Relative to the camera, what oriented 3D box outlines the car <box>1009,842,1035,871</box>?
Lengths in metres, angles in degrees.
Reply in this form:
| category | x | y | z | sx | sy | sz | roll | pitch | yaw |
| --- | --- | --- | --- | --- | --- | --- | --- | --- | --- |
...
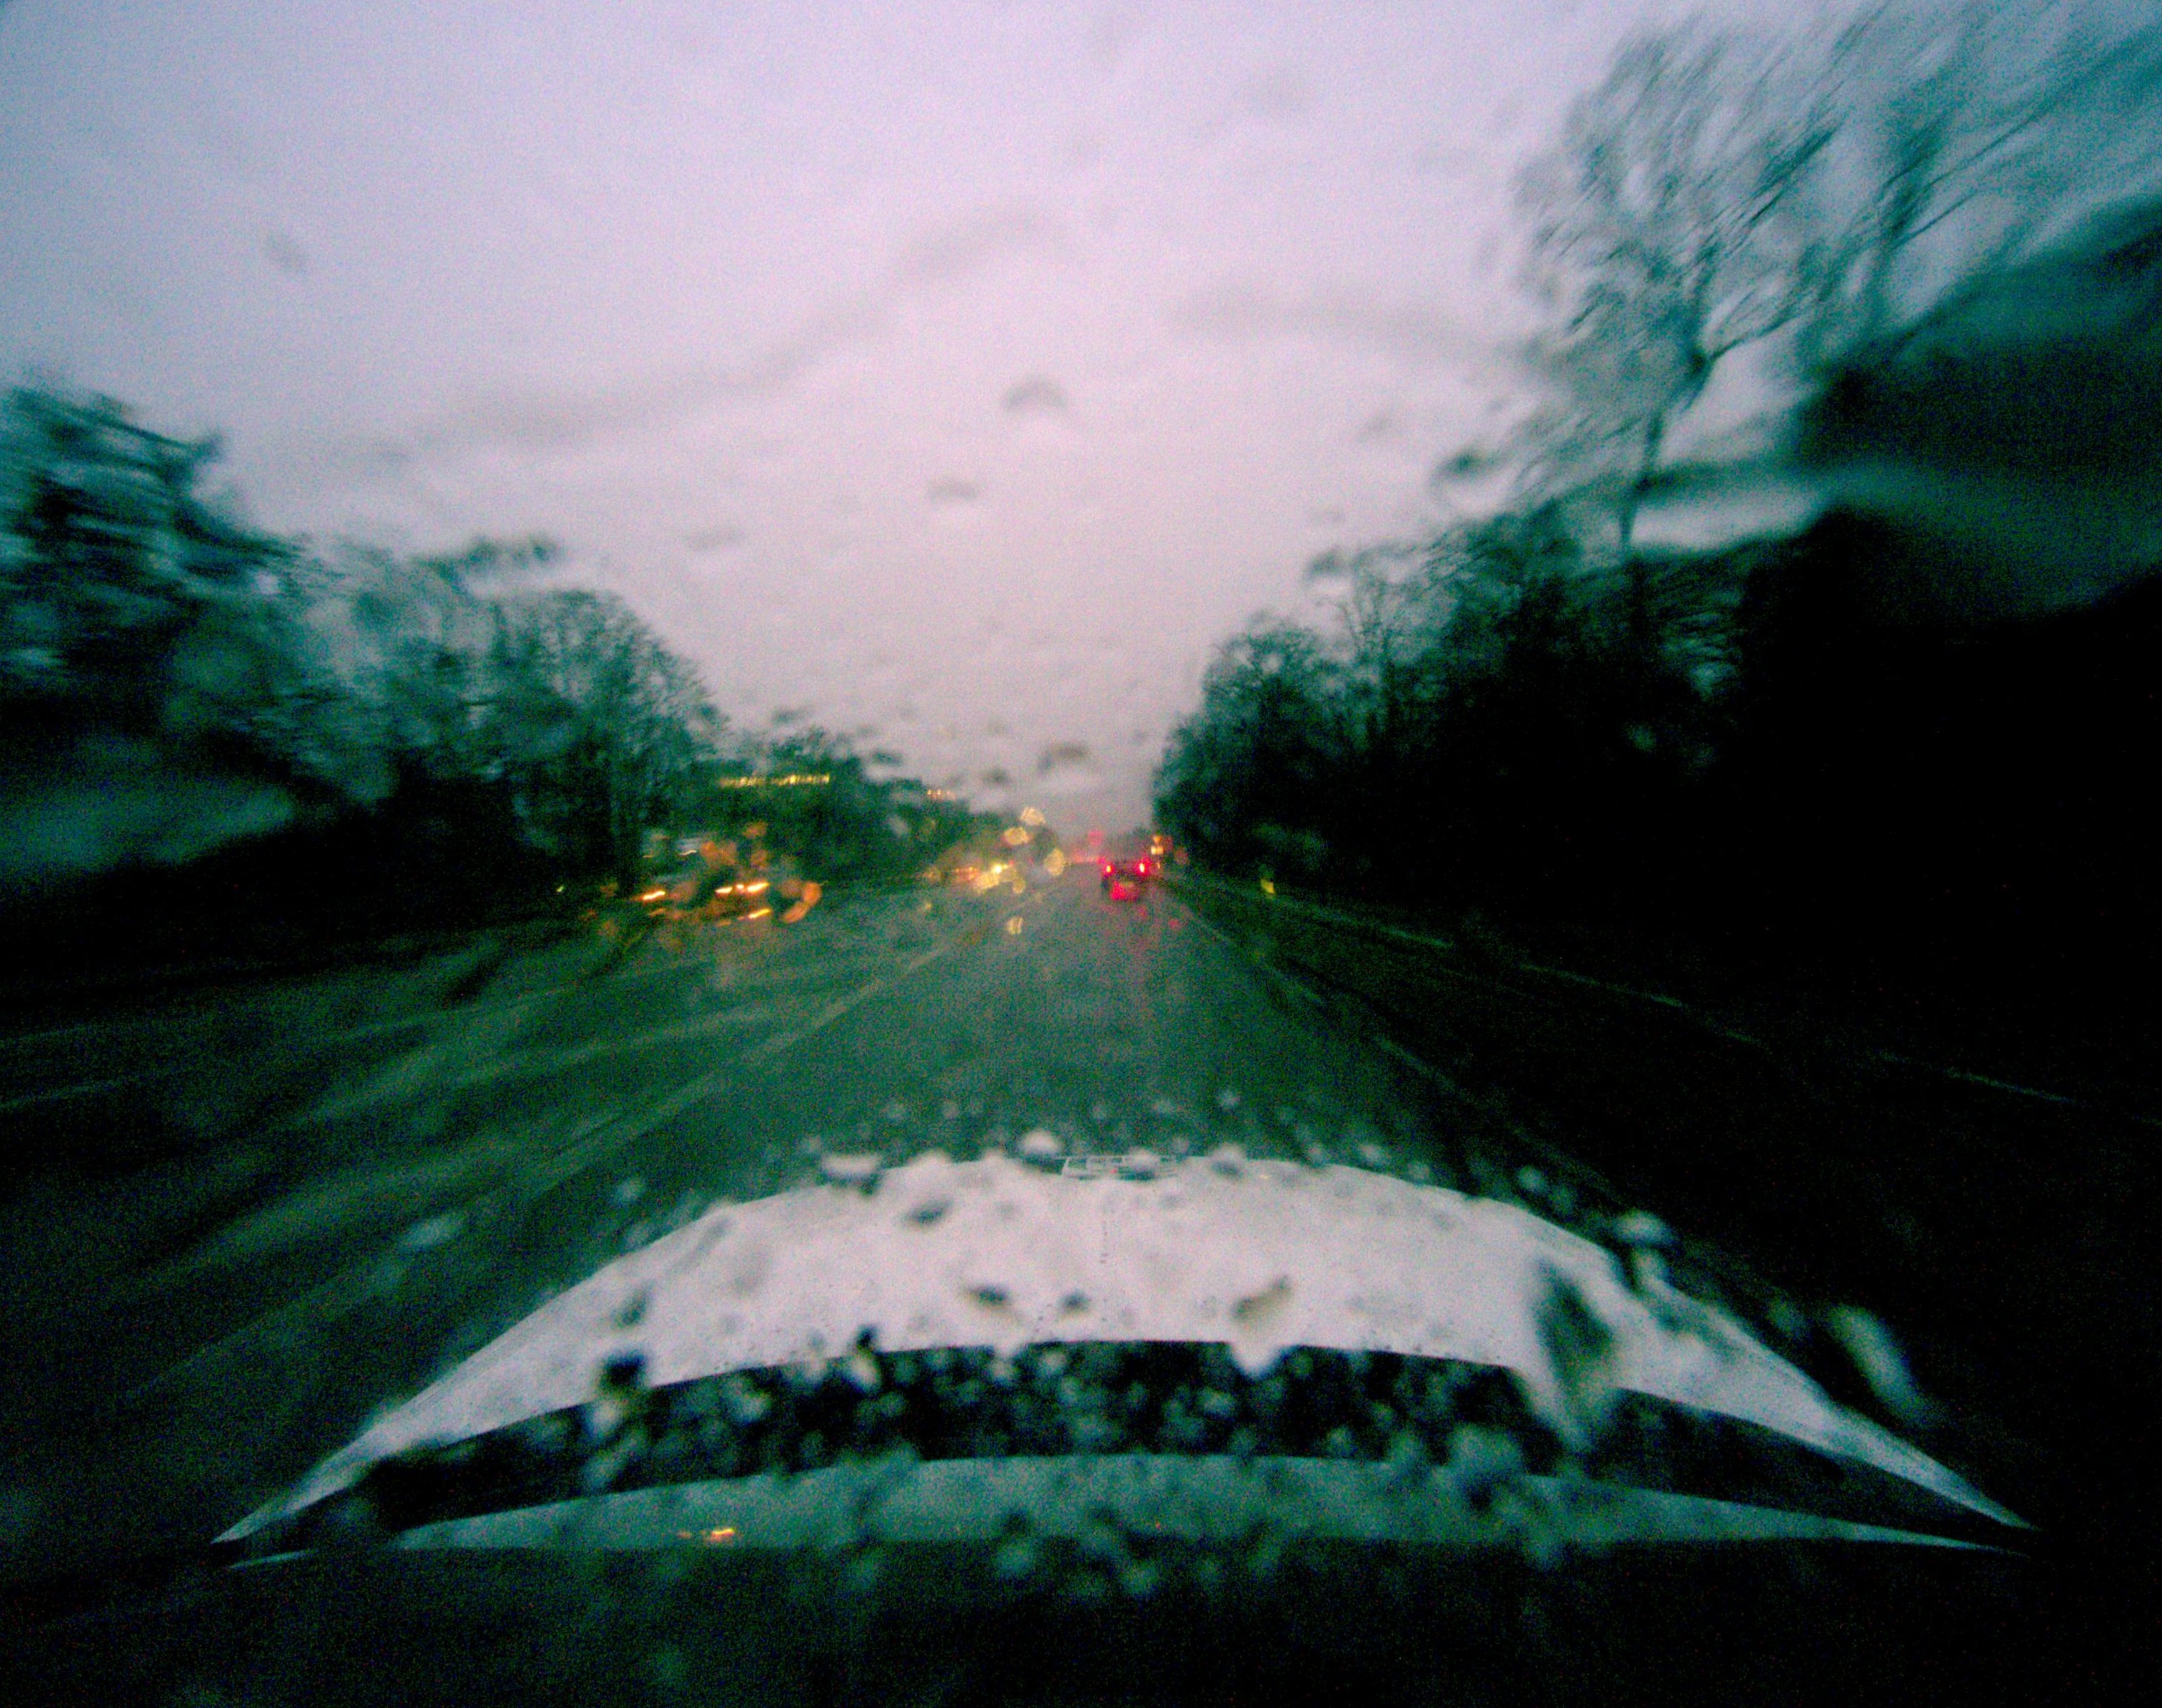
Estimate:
| category | x | y | z | sx | sy | sz | roll | pitch | yaw |
| --- | --- | --- | --- | --- | --- | --- | --- | --- | --- |
| car | -5.209 | 0.242 | 72.505 | 1.994 | 2.453 | 4.000 | -1 | 0 | 0 |

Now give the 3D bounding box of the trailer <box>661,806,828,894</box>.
| category | x | y | z | sx | sy | sz | roll | pitch | yaw |
| --- | --- | --- | --- | --- | --- | --- | --- | --- | --- |
| trailer | -20.846 | -0.195 | 52.046 | 3.470 | 4.847 | 13.508 | -1 | 0 | 8 |

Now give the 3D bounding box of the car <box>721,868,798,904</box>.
| category | x | y | z | sx | sy | sz | roll | pitch | yaw |
| --- | --- | --- | --- | --- | --- | --- | --- | --- | --- |
| car | -15.619 | 1.505 | 39.734 | 1.691 | 1.565 | 4.050 | -1 | 0 | 7 |

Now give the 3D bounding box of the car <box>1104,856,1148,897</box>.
| category | x | y | z | sx | sy | sz | roll | pitch | yaw |
| --- | --- | --- | --- | --- | --- | --- | --- | --- | --- |
| car | 1.664 | 0.805 | 30.273 | 1.521 | 1.416 | 3.481 | -1 | 0 | 2 |

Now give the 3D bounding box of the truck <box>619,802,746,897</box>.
| category | x | y | z | sx | sy | sz | roll | pitch | yaw |
| --- | --- | --- | --- | --- | --- | --- | --- | --- | --- |
| truck | -21.799 | -0.203 | 44.959 | 3.470 | 4.847 | 6.044 | -1 | 0 | 7 |
